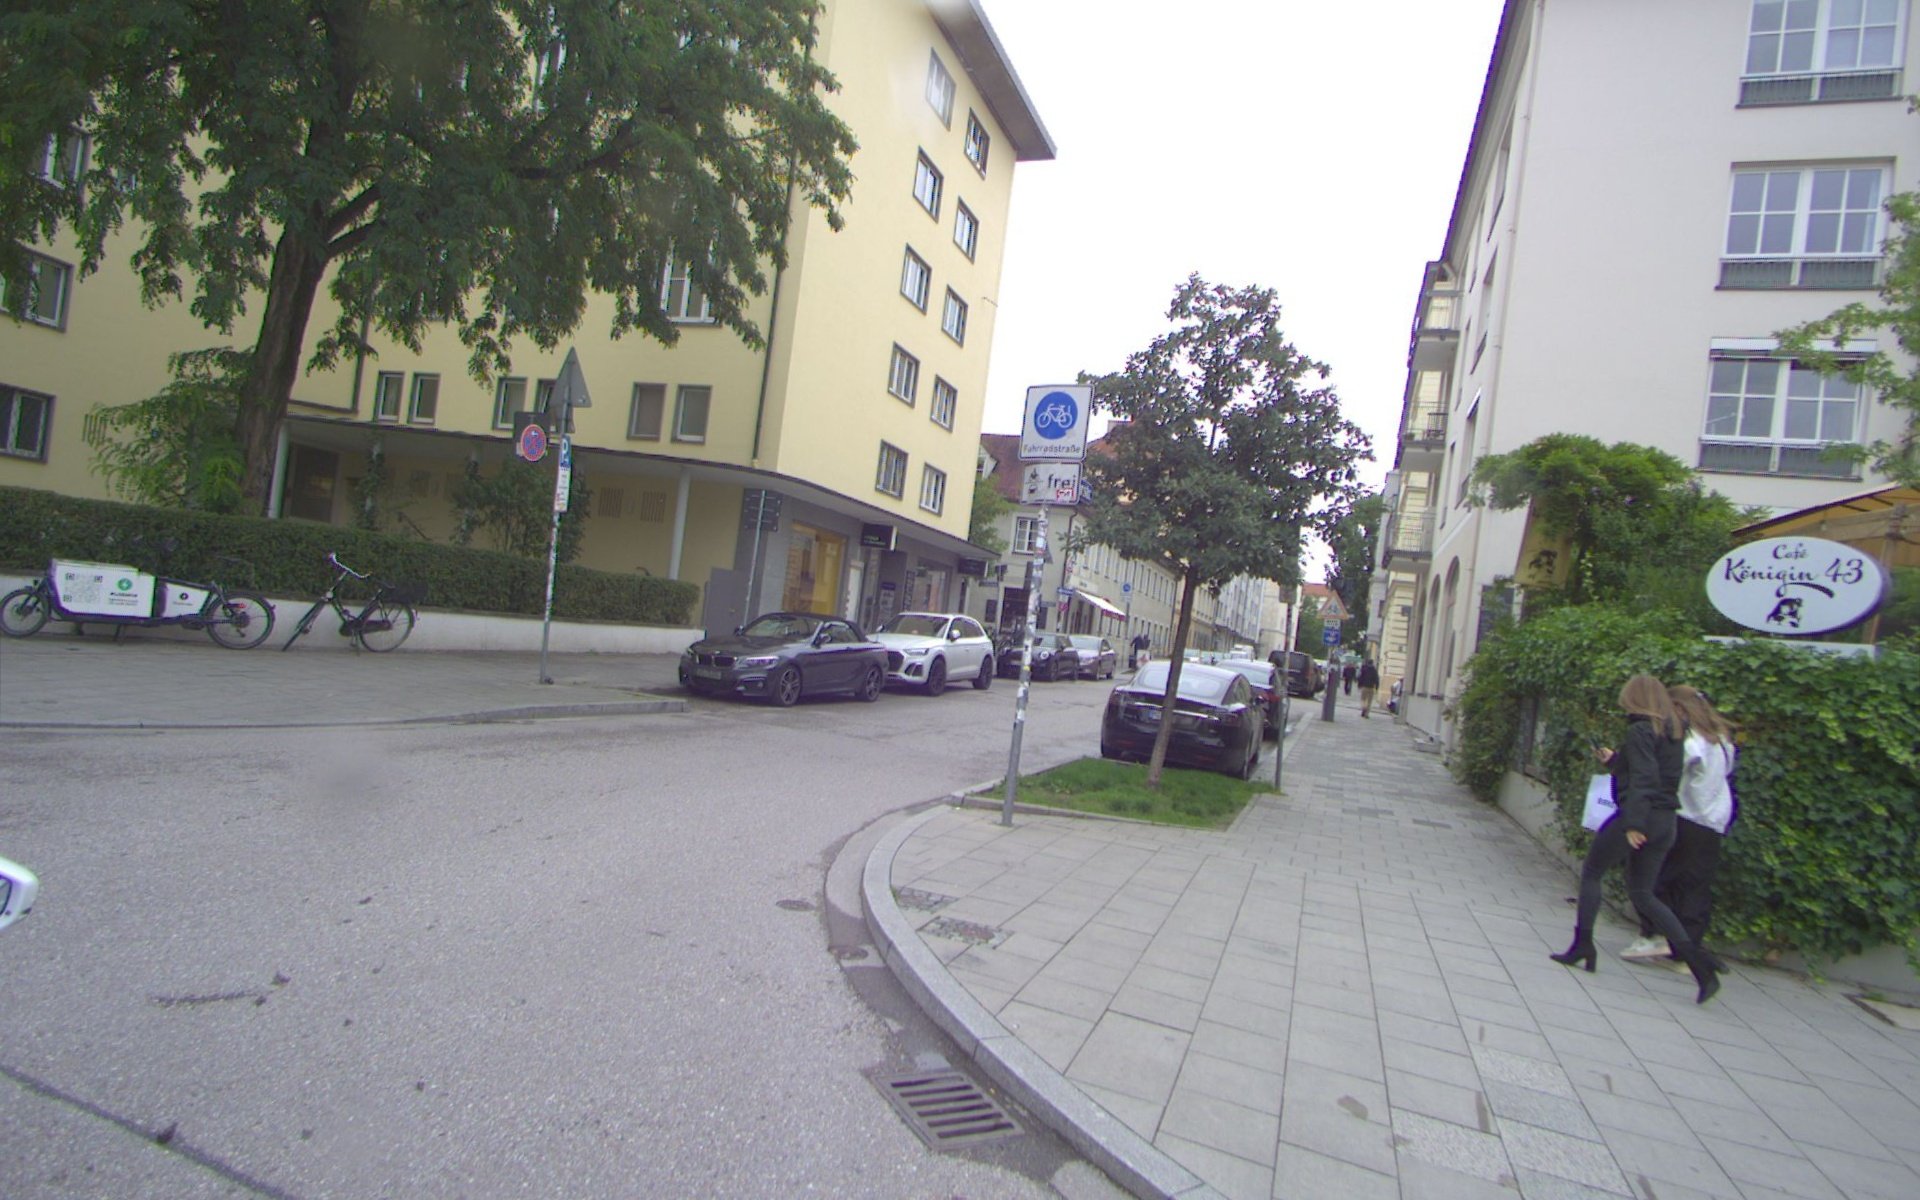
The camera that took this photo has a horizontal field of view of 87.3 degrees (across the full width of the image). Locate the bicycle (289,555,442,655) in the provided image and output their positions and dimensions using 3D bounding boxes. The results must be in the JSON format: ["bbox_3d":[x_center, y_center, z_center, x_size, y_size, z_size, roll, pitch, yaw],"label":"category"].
[{"bbox_3d":[-7.585,0.096,12.928,0.451,1.144,1.688,7,-1,21],"label":"bicycle"}]

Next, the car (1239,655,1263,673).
[{"bbox_3d":[27.976,6.123,96.728,1.673,1.526,3.999,7,0,21],"label":"car"}]

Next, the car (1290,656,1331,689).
[{"bbox_3d":[19.853,4.068,56.857,1.796,1.536,4.239,7,0,22],"label":"car"}]

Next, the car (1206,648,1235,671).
[{"bbox_3d":[18.705,4.243,72.123,1.661,1.426,3.503,7,0,18],"label":"car"}]

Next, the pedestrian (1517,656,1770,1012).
[{"bbox_3d":[3.645,1.181,5.387,0.675,1.649,0.821,5,0,-38],"label":"pedestrian"}]

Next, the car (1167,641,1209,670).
[{"bbox_3d":[13.337,3.251,58.759,1.757,1.431,4.001,7,-1,21],"label":"car"}]

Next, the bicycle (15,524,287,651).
[{"bbox_3d":[-8.819,-0.096,11.077,0.631,1.129,2.167,7,-1,38],"label":"bicycle"}]

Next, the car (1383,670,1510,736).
[{"bbox_3d":[15.470,3.247,32.190,3.418,1.548,1.576,7,0,23],"label":"car"}]

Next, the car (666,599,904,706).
[{"bbox_3d":[-2.651,0.885,16.370,1.632,1.383,4.334,4,-2,23],"label":"car"}]

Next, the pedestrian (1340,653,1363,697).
[{"bbox_3d":[19.134,3.651,49.192,0.773,2.038,0.832,7,0,17],"label":"pedestrian"}]

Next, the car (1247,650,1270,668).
[{"bbox_3d":[30.331,5.986,102.196,1.742,1.615,3.999,8,0,20],"label":"car"}]

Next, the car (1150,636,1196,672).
[{"bbox_3d":[11.619,2.941,54.686,1.757,1.682,4.001,7,-1,20],"label":"car"}]

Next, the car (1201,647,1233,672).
[{"bbox_3d":[17.367,3.981,67.915,1.661,1.426,4.000,7,0,18],"label":"car"}]

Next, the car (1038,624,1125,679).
[{"bbox_3d":[4.158,1.761,33.927,1.791,1.548,4.001,7,-1,22],"label":"car"}]

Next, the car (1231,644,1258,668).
[{"bbox_3d":[23.339,4.582,82.455,1.756,1.682,4.002,7,-1,18],"label":"car"}]

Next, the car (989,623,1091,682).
[{"bbox_3d":[2.468,1.602,30.033,1.793,1.417,4.000,7,-1,22],"label":"car"}]

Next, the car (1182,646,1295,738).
[{"bbox_3d":[6.001,1.912,21.352,1.692,1.548,4.000,7,-1,22],"label":"car"}]

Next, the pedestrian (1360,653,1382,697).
[{"bbox_3d":[20.081,3.647,49.160,0.742,2.038,0.832,7,0,22],"label":"pedestrian"}]

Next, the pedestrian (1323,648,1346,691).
[{"bbox_3d":[18.408,3.416,49.505,0.773,2.038,0.832,7,0,17],"label":"pedestrian"}]

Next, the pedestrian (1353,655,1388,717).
[{"bbox_3d":[12.347,2.590,30.299,0.774,1.735,0.832,7,0,22],"label":"pedestrian"}]

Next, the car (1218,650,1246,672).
[{"bbox_3d":[20.710,4.598,76.538,1.661,1.426,3.503,7,0,18],"label":"car"}]

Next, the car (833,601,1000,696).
[{"bbox_3d":[-0.785,0.997,21.289,1.824,1.682,4.318,4,-1,22],"label":"car"}]

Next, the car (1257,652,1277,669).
[{"bbox_3d":[34.329,6.719,112.590,1.742,1.615,3.999,8,0,20],"label":"car"}]

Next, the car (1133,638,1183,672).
[{"bbox_3d":[9.896,2.750,50.083,1.710,1.439,4.001,7,-1,20],"label":"car"}]

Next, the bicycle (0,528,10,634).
[{"bbox_3d":[-10.647,-0.276,9.777,1.925,1.098,0.526,6,0,-26],"label":"bicycle"}]

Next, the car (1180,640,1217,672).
[{"bbox_3d":[15.025,3.522,63.161,1.756,1.682,4.002,7,-1,18],"label":"car"}]

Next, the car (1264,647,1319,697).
[{"bbox_3d":[14.267,3.080,43.141,1.786,1.796,4.000,7,-1,22],"label":"car"}]

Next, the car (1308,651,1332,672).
[{"bbox_3d":[30.538,5.174,85.373,1.672,1.526,4.000,7,0,20],"label":"car"}]

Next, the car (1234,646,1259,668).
[{"bbox_3d":[24.873,4.964,87.148,1.756,1.682,4.002,7,-1,18],"label":"car"}]

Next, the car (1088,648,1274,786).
[{"bbox_3d":[3.357,1.563,14.533,1.933,1.415,4.506,7,-1,20],"label":"car"}]

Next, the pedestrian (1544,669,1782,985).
[{"bbox_3d":[4.163,1.281,5.975,0.802,1.626,0.821,6,0,-37],"label":"pedestrian"}]
